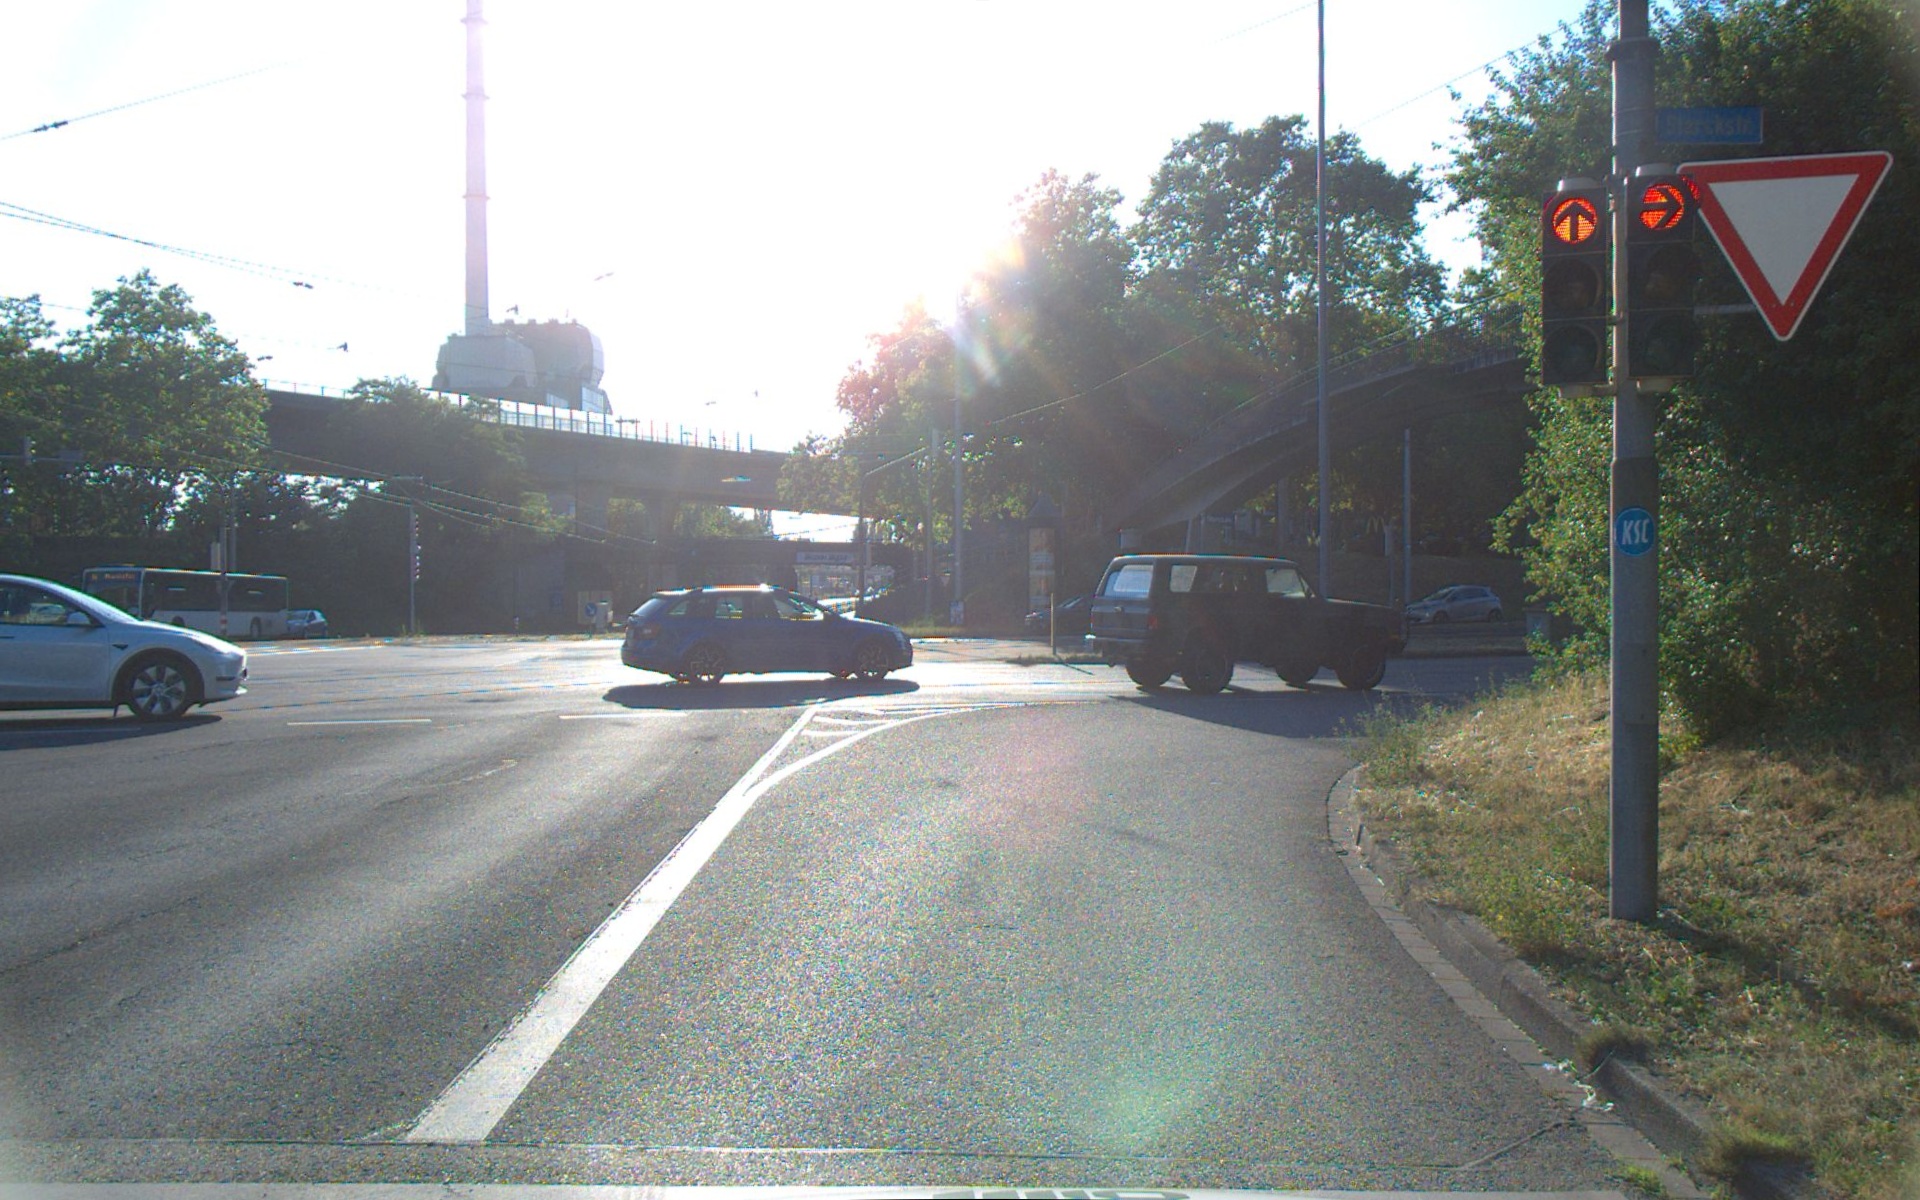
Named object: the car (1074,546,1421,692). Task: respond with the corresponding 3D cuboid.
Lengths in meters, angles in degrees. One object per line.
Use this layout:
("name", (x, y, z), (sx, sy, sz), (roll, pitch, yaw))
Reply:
("car", (4.330, 0.272, 24.914), (4.860, 2.026, 2.023), (0, 0, -23))

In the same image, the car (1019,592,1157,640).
("car", (4.418, 0.552, 57.143), (4.505, 1.602, 1.685), (1, 0, -18))

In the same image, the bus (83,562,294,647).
("bus", (-31.942, 0.309, 69.372), (2.491, 3.185, 12.919), (-1, -1, 2))

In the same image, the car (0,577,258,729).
("car", (-10.378, 0.560, 18.355), (4.685, 1.602, 1.682), (0, 0, -22))

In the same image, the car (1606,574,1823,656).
("car", (15.402, 0.296, 33.754), (4.177, 1.602, 1.682), (0, 0, -23))

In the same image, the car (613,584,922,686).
("car", (-3.005, 0.520, 25.891), (4.545, 1.484, 1.683), (0, 0, -22))

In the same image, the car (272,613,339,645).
("car", (-31.698, 1.373, 80.182), (1.573, 1.444, 4.008), (1, 0, 1))

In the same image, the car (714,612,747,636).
("car", (-14.519, 1.521, 104.695), (1.632, 1.429, 4.442), (1, 0, -3))

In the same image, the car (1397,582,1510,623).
("car", (18.819, 0.096, 63.073), (3.935, 1.538, 1.684), (1, 0, -20))
